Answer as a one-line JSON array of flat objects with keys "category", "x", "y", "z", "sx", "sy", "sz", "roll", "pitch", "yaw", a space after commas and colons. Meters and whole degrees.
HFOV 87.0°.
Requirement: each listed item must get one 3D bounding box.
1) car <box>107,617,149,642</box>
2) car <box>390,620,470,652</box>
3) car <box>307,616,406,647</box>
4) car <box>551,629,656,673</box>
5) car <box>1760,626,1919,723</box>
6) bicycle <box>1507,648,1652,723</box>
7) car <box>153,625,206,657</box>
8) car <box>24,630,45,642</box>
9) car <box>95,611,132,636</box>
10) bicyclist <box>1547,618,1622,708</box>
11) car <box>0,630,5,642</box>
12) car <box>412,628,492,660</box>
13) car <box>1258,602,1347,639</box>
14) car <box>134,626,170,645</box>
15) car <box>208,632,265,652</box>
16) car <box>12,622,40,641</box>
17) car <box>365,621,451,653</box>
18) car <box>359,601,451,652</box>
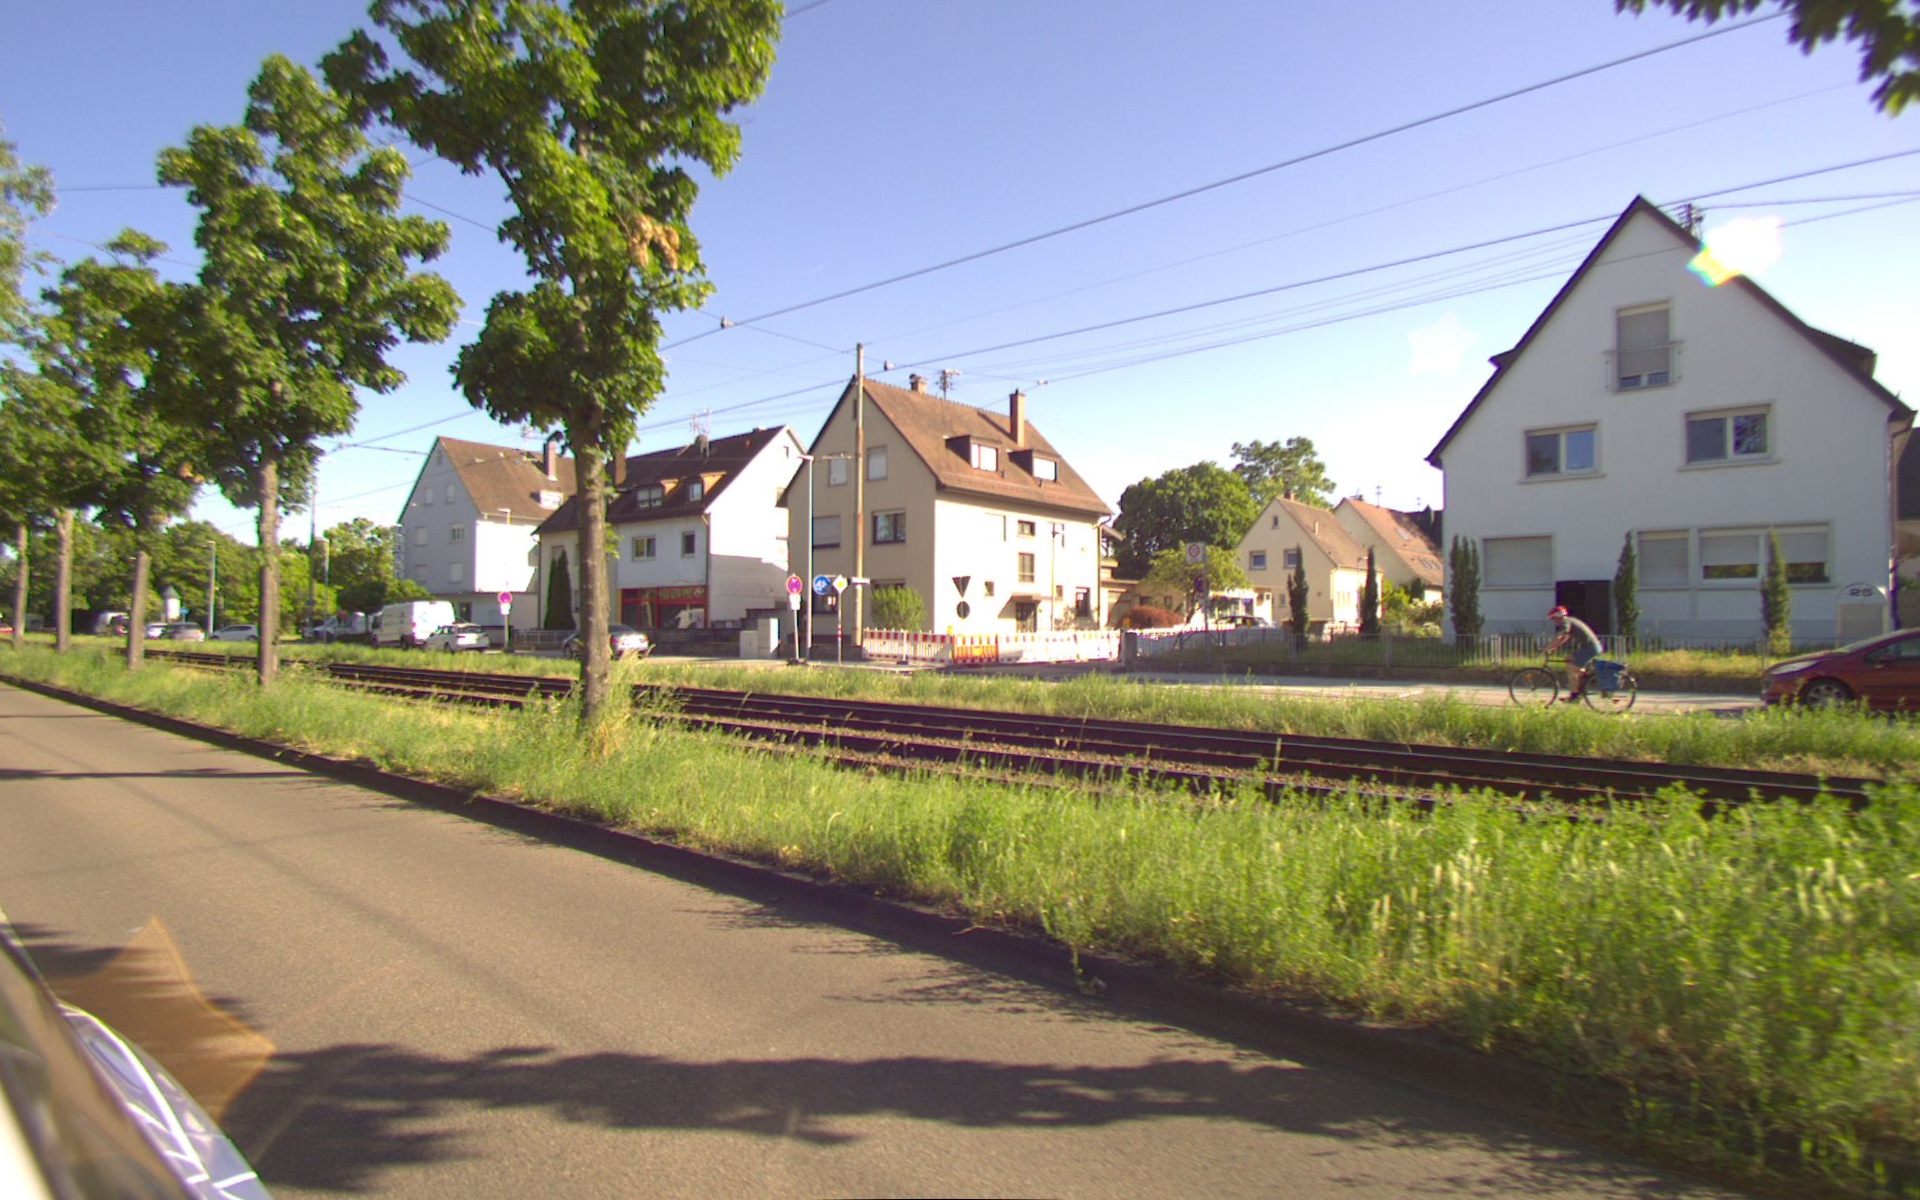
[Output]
[{"category": "car", "x": -82.261, "y": 2.892, "z": 100.044, "sx": 6.462, "sy": 2.394, "sz": 2.160, "roll": -1, "pitch": -1, "yaw": 41}, {"category": "car", "x": -33.496, "y": 2.254, "z": 64.045, "sx": 1.992, "sy": 1.967, "sz": 4.108, "roll": -1, "pitch": -1, "yaw": 30}, {"category": "car", "x": -51.918, "y": 2.661, "z": 87.220, "sx": 2.326, "sy": 2.526, "sz": 7.003, "roll": -2, "pitch": -1, "yaw": 36}, {"category": "car", "x": -14.044, "y": 1.970, "z": 39.717, "sx": 4.496, "sy": 1.593, "sz": 1.972, "roll": -2, "pitch": -1, "yaw": 42}, {"category": "car", "x": 14.301, "y": 1.069, "z": 14.784, "sx": 4.000, "sy": 1.336, "sz": 1.478, "roll": -1, "pitch": -1, "yaw": 43}, {"category": "bicycle", "x": 9.636, "y": 1.304, "z": 15.795, "sx": 1.879, "sy": 1.078, "sz": 0.394, "roll": -2, "pitch": -2, "yaw": 42}, {"category": "car", "x": -49.708, "y": 2.602, "z": 64.408, "sx": 4.523, "sy": 1.897, "sz": 1.895, "roll": -1, "pitch": -1, "yaw": 42}, {"category": "car", "x": -126.072, "y": 4.874, "z": 137.805, "sx": 4.530, "sy": 1.635, "sz": 1.605, "roll": -1, "pitch": -1, "yaw": 41}, {"category": "car", "x": -88.288, "y": 2.438, "z": 105.496, "sx": 6.133, "sy": 2.515, "sz": 1.981, "roll": -1, "pitch": -1, "yaw": 41}, {"category": "bicyclist", "x": 9.706, "y": 0.964, "z": 15.732, "sx": 0.881, "sy": 1.347, "sz": 0.681, "roll": -2, "pitch": -2, "yaw": 41}, {"category": "car", "x": -122.375, "y": 4.544, "z": 128.211, "sx": 3.998, "sy": 1.420, "sz": 1.659, "roll": -2, "pitch": -2, "yaw": 41}, {"category": "car", "x": -24.578, "y": 2.096, "z": 48.898, "sx": 4.655, "sy": 1.423, "sz": 1.805, "roll": -1, "pitch": 0, "yaw": 41}, {"category": "car", "x": 19.420, "y": 1.128, "z": 57.474, "sx": 4.334, "sy": 2.029, "sz": 1.972, "roll": -1, "pitch": -1, "yaw": 43}, {"category": "car", "x": -72.590, "y": 3.181, "z": 90.908, "sx": 4.772, "sy": 1.619, "sz": 1.804, "roll": -1, "pitch": -1, "yaw": 42}, {"category": "car", "x": -56.742, "y": 3.257, "z": 79.357, "sx": 3.567, "sy": 1.489, "sz": 1.754, "roll": 1, "pitch": -2, "yaw": -37}, {"category": "car", "x": -131.737, "y": 4.454, "z": 142.730, "sx": 6.795, "sy": 2.600, "sz": 2.202, "roll": -2, "pitch": -1, "yaw": 41}, {"category": "car", "x": -35.663, "y": 2.337, "z": 65.516, "sx": 1.992, "sy": 1.960, "sz": 4.584, "roll": -1, "pitch": -1, "yaw": 30}, {"category": "car", "x": -28.980, "y": 1.349, "z": 52.727, "sx": 6.671, "sy": 2.478, "sz": 1.973, "roll": -1, "pitch": -1, "yaw": 41}]
